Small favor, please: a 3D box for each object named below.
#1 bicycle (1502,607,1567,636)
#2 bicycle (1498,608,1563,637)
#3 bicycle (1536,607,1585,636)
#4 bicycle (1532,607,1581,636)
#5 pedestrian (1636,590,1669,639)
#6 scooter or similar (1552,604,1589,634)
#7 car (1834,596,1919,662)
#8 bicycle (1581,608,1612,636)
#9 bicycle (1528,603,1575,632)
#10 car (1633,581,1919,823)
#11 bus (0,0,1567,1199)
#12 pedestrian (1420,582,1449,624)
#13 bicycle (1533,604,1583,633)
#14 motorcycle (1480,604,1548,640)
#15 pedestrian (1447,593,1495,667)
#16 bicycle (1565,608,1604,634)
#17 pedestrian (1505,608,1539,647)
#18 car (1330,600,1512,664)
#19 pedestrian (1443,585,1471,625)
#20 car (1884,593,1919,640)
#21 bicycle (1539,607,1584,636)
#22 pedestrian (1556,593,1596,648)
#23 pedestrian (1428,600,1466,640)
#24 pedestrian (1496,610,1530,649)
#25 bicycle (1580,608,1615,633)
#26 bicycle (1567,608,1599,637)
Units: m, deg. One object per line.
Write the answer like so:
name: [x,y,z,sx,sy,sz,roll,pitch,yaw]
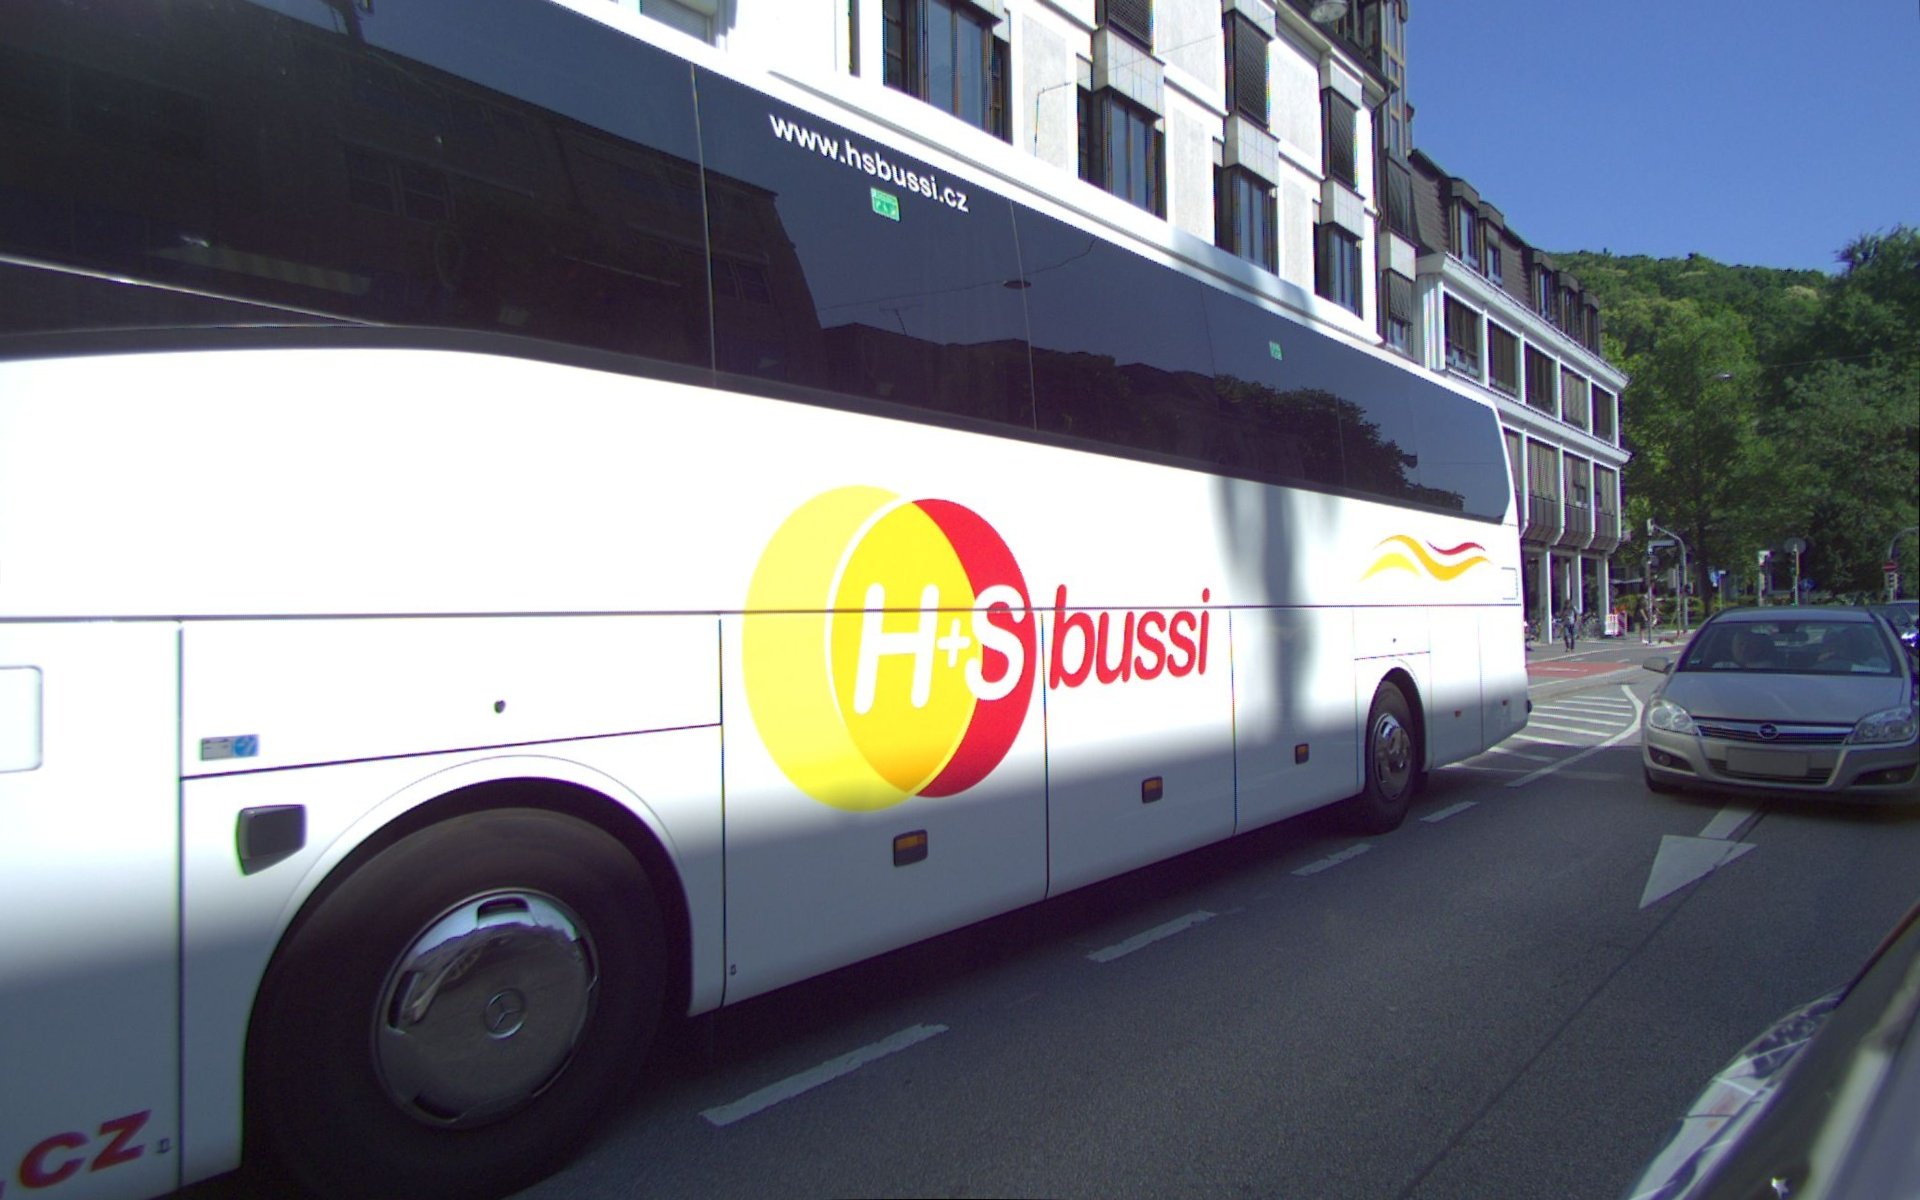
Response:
bicycle: [22.913,0.873,40.408,2.231,1.135,0.274,-2,-2,39]
bicycle: [22.507,0.897,39.952,2.226,1.111,0.274,-2,-2,33]
bicycle: [24.579,0.861,41.451,0.272,1.134,1.721,0,0,-37]
bicycle: [24.275,0.851,41.207,0.272,1.134,1.721,0,0,-37]
pedestrian: [27.189,0.564,39.749,0.684,1.859,0.835,-1,0,-36]
scooter or similar: [25.962,0.829,43.039,0.471,1.248,1.249,0,-1,-38]
car: [22.528,0.661,24.633,1.841,1.447,4.151,-2,0,40]
bicycle: [25.890,0.886,41.152,2.201,1.135,0.277,0,-1,-37]
bicycle: [27.804,0.828,47.608,1.827,1.334,0.530,0,-1,8]
car: [7.148,0.665,8.478,1.707,1.542,4.336,-2,-2,44]
bus: [0.109,-0.344,5.784,2.881,3.791,12.227,-5,-3,44]
pedestrian: [16.574,0.108,35.334,0.711,1.414,0.685,-2,0,45]
bicycle: [27.801,0.834,47.079,1.933,1.334,0.530,0,-1,8]
motorcycle: [21.134,0.827,38.692,0.929,1.307,2.248,-2,0,-16]
pedestrian: [12.035,0.690,23.843,0.820,1.707,0.696,0,-1,-36]
bicycle: [26.878,0.901,43.554,1.444,1.079,0.377,0,0,3]
pedestrian: [18.272,0.887,32.880,0.684,1.232,0.713,-2,0,-36]
car: [12.286,0.821,27.164,1.811,1.513,4.049,-3,1,-42]
pedestrian: [18.014,0.193,36.684,0.711,1.414,0.685,-1,0,45]
car: [31.936,0.515,33.356,4.272,1.447,1.937,-1,0,-45]
bicycle: [24.123,0.864,40.614,0.272,1.134,1.575,0,0,-37]
pedestrian: [19.496,0.637,32.044,0.684,1.684,0.835,-2,0,-36]
pedestrian: [17.397,0.707,36.122,0.896,1.368,1.088,-2,0,45]
pedestrian: [17.656,0.934,32.305,0.684,1.187,0.713,-2,0,-36]
bicycle: [27.886,0.881,44.262,1.441,1.079,0.310,0,0,-9]
bicycle: [25.432,0.902,41.296,2.201,1.135,0.277,0,-1,-37]
